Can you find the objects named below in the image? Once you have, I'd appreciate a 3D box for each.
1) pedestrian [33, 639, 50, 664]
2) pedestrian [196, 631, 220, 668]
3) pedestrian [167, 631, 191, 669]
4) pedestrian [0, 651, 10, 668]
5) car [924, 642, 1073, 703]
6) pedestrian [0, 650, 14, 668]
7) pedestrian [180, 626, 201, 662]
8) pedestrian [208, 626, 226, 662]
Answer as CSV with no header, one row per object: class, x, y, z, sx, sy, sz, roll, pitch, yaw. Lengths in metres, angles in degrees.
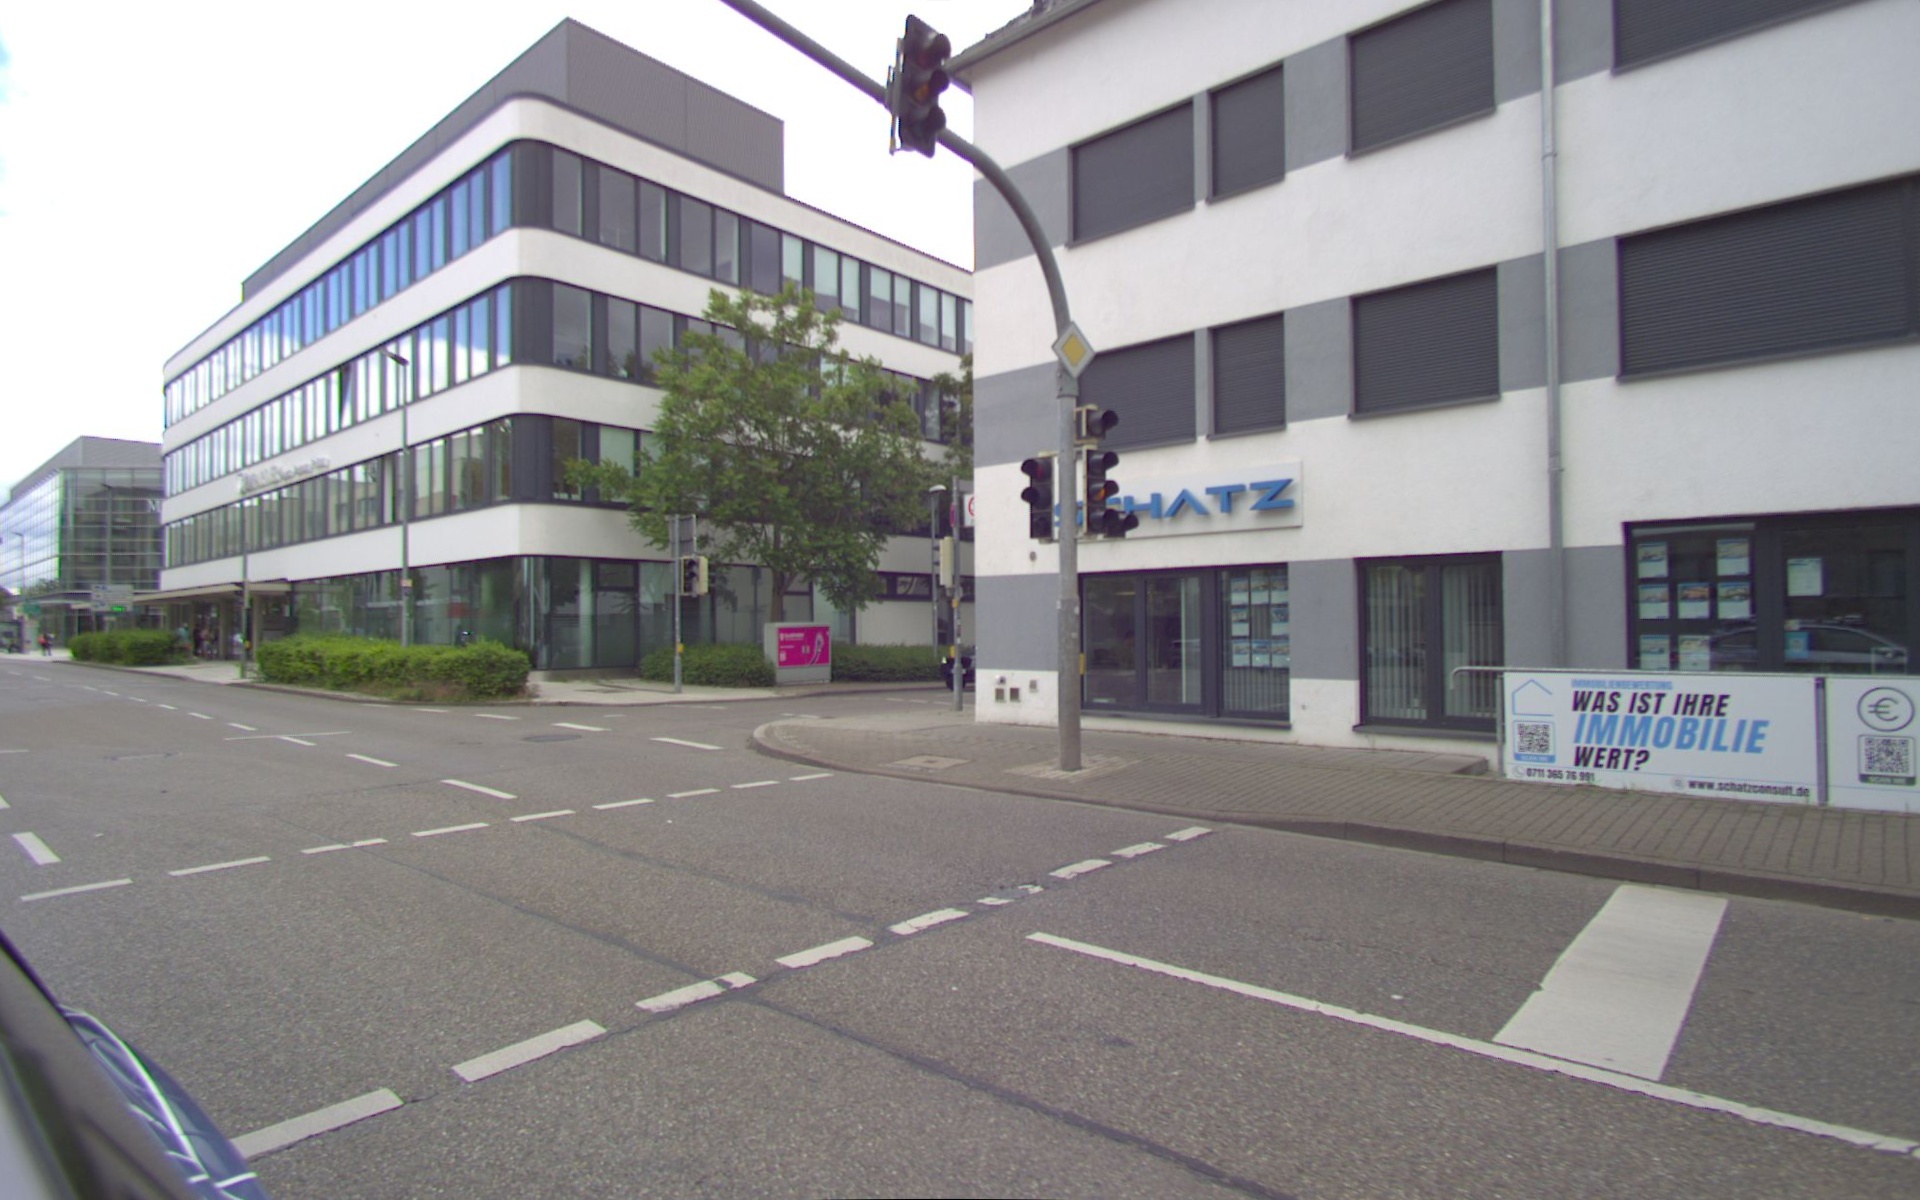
pedestrian,-59.406,3.297,65.455,0.820,1.579,0.813,0,-2,-44
pedestrian,-33.993,2.221,45.772,0.931,1.625,0.722,-3,-2,43
pedestrian,-35.163,2.233,45.548,0.931,1.686,0.722,-3,-2,43
pedestrian,-71.872,4.458,75.982,0.575,1.263,0.677,-3,-4,39
car,1.100,2.018,27.857,3.940,1.544,1.913,4,-7,-44
pedestrian,-70.879,4.369,75.196,0.575,1.330,0.677,-3,-5,39
pedestrian,-37.507,2.142,49.315,0.501,1.723,0.613,-1,-3,10
pedestrian,-36.498,2.172,49.691,0.497,1.743,0.617,1,-3,-18
